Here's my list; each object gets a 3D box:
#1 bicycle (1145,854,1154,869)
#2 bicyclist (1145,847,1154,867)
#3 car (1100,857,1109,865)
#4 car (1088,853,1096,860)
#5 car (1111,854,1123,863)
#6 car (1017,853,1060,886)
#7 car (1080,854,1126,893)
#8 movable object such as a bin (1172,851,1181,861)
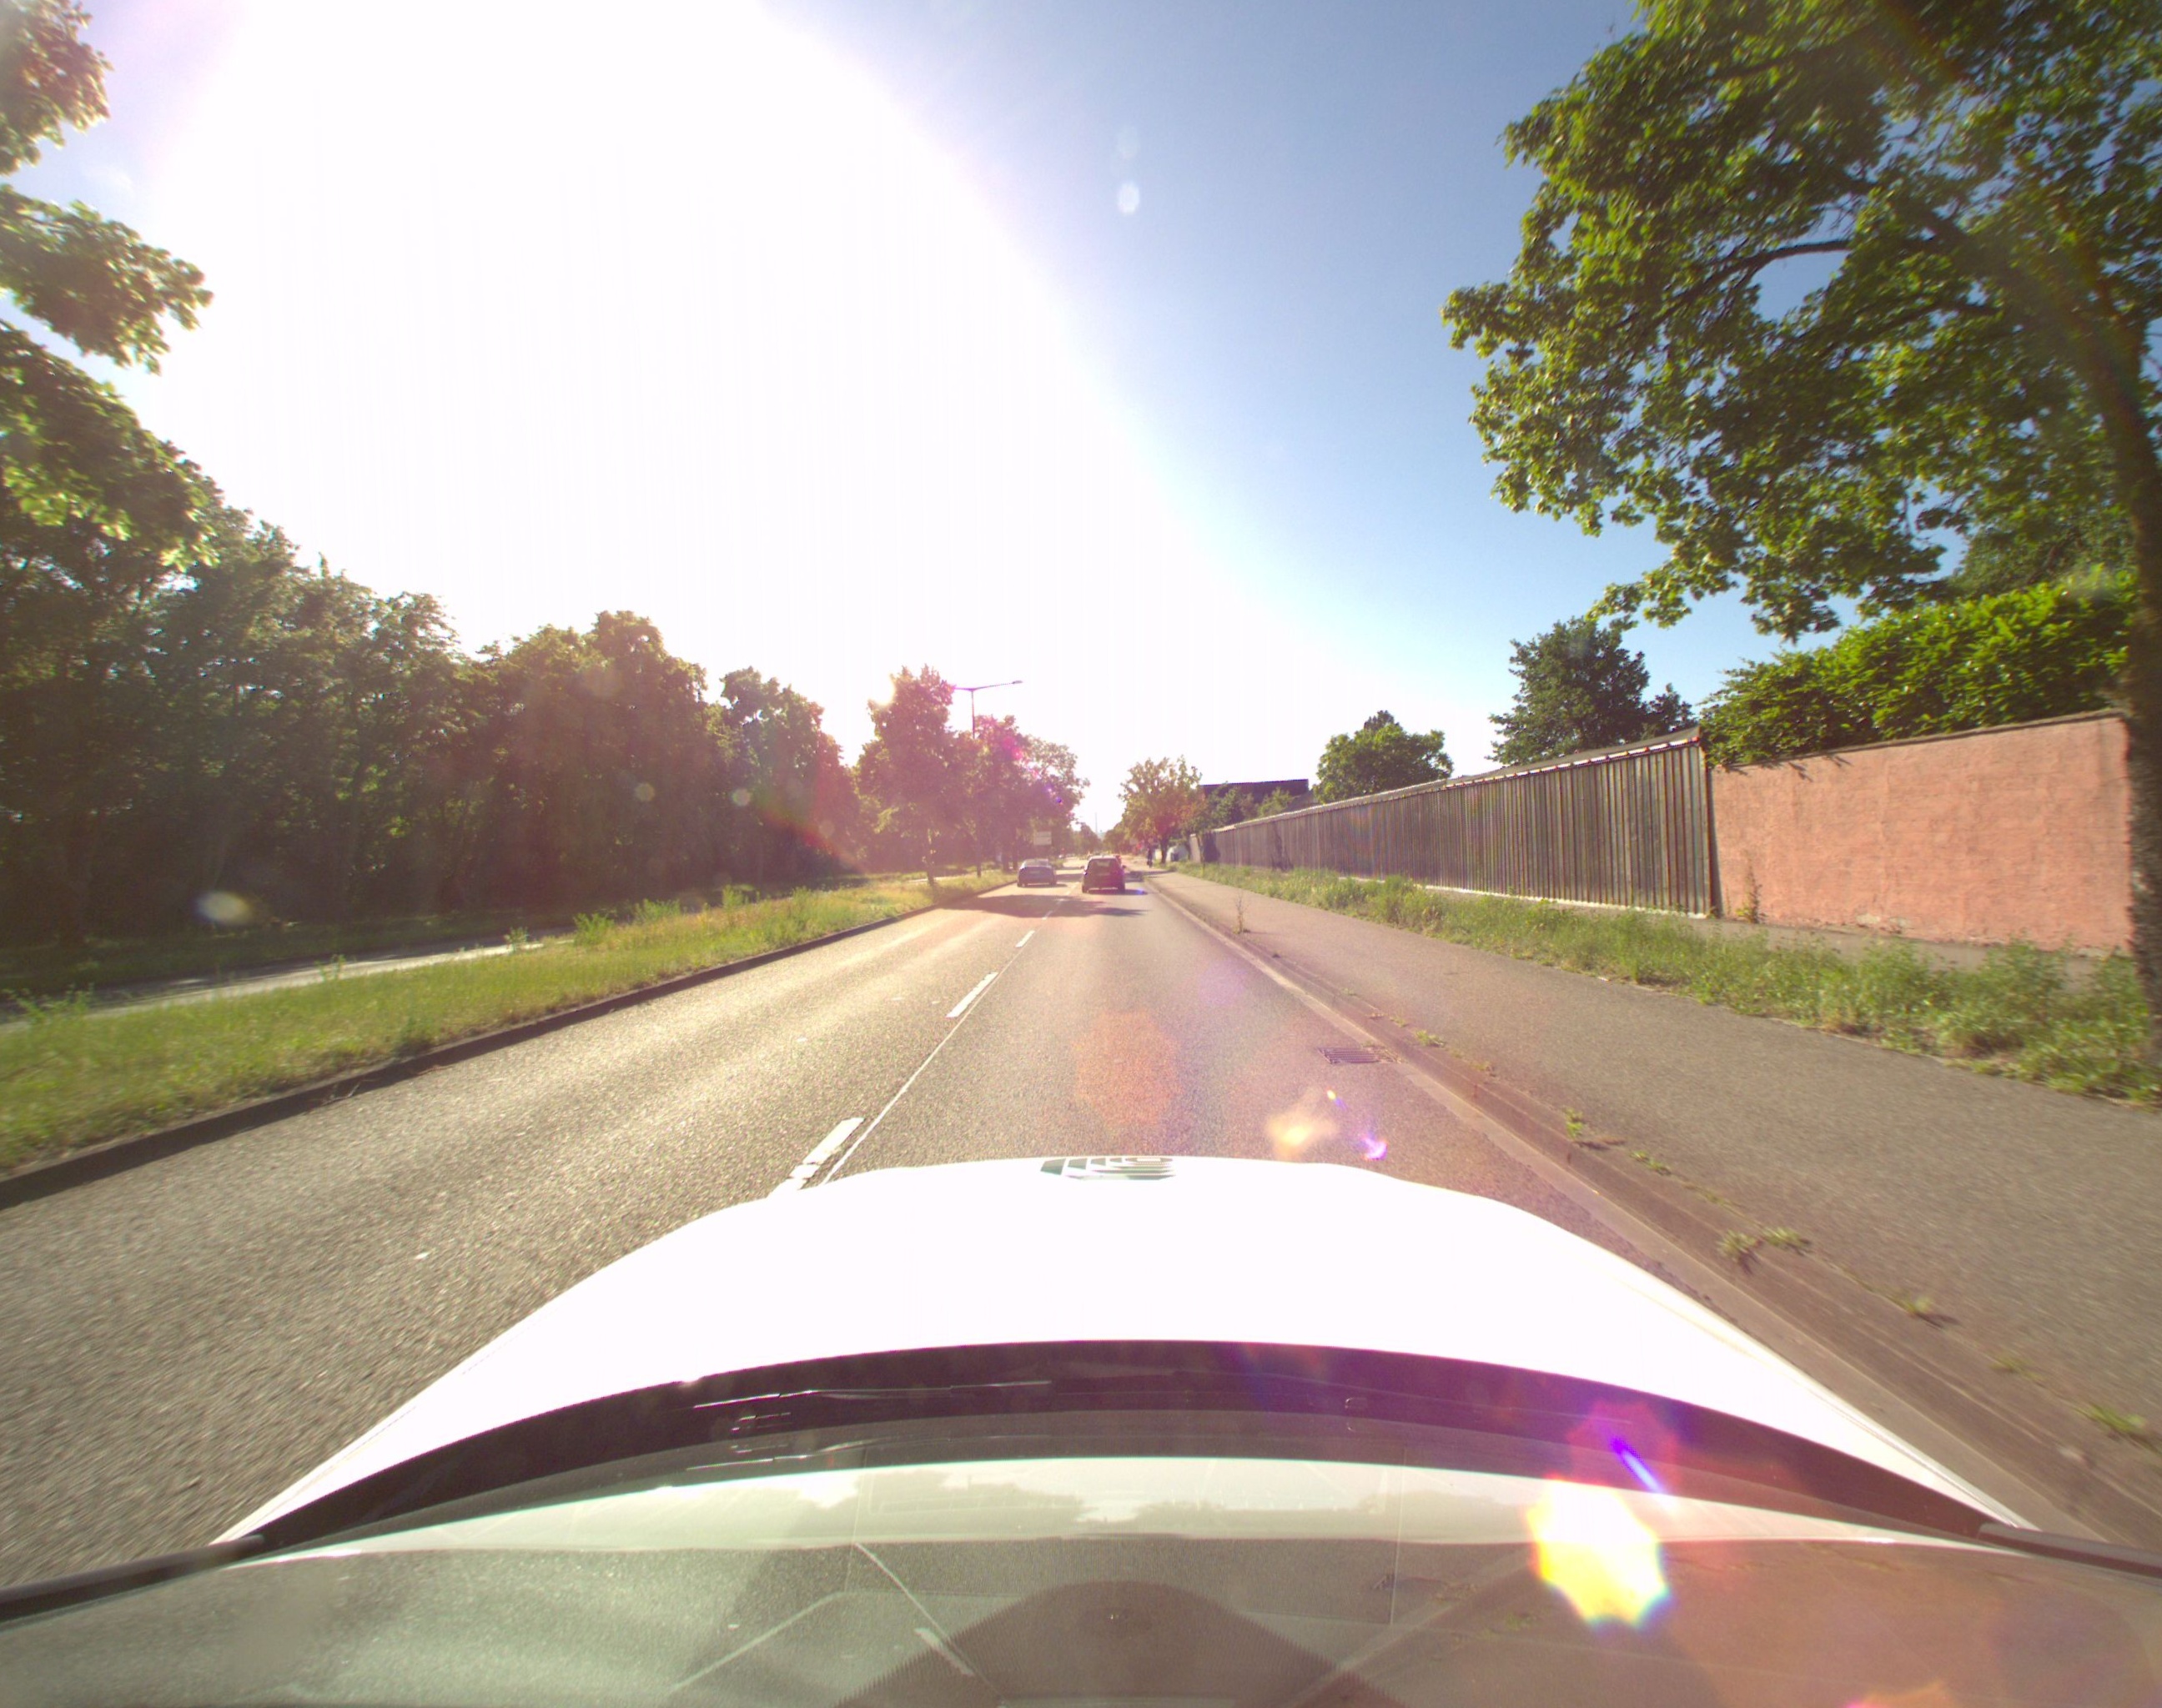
[{"bbox_3d":[5.967,0.643,70.787,0.571,1.155,2.145,-6,0,8],"label":"bicycle"},{"bbox_3d":[5.942,0.251,70.768,0.626,1.632,0.984,-6,0,8],"label":"bicyclist"},{"bbox_3d":[5.129,1.529,177.553,1.726,1.585,3.841,0,-1,2],"label":"car"},{"bbox_3d":[2.755,0.706,204.625,1.818,1.615,3.841,-2,0,1],"label":"car"},{"bbox_3d":[5.937,0.703,133.647,1.724,1.459,3.845,-2,0,5],"label":"car"},{"bbox_3d":[-2.157,0.791,42.387,1.881,1.552,4.001,-3,-1,2],"label":"car"},{"bbox_3d":[0.926,0.777,33.812,1.749,1.509,3.810,-2,-1,1],"label":"car"},{"bbox_3d":[12.491,0.254,106.369,0.996,1.205,1.065,-4,-1,9],"label":"movable object such as a bin"}]
